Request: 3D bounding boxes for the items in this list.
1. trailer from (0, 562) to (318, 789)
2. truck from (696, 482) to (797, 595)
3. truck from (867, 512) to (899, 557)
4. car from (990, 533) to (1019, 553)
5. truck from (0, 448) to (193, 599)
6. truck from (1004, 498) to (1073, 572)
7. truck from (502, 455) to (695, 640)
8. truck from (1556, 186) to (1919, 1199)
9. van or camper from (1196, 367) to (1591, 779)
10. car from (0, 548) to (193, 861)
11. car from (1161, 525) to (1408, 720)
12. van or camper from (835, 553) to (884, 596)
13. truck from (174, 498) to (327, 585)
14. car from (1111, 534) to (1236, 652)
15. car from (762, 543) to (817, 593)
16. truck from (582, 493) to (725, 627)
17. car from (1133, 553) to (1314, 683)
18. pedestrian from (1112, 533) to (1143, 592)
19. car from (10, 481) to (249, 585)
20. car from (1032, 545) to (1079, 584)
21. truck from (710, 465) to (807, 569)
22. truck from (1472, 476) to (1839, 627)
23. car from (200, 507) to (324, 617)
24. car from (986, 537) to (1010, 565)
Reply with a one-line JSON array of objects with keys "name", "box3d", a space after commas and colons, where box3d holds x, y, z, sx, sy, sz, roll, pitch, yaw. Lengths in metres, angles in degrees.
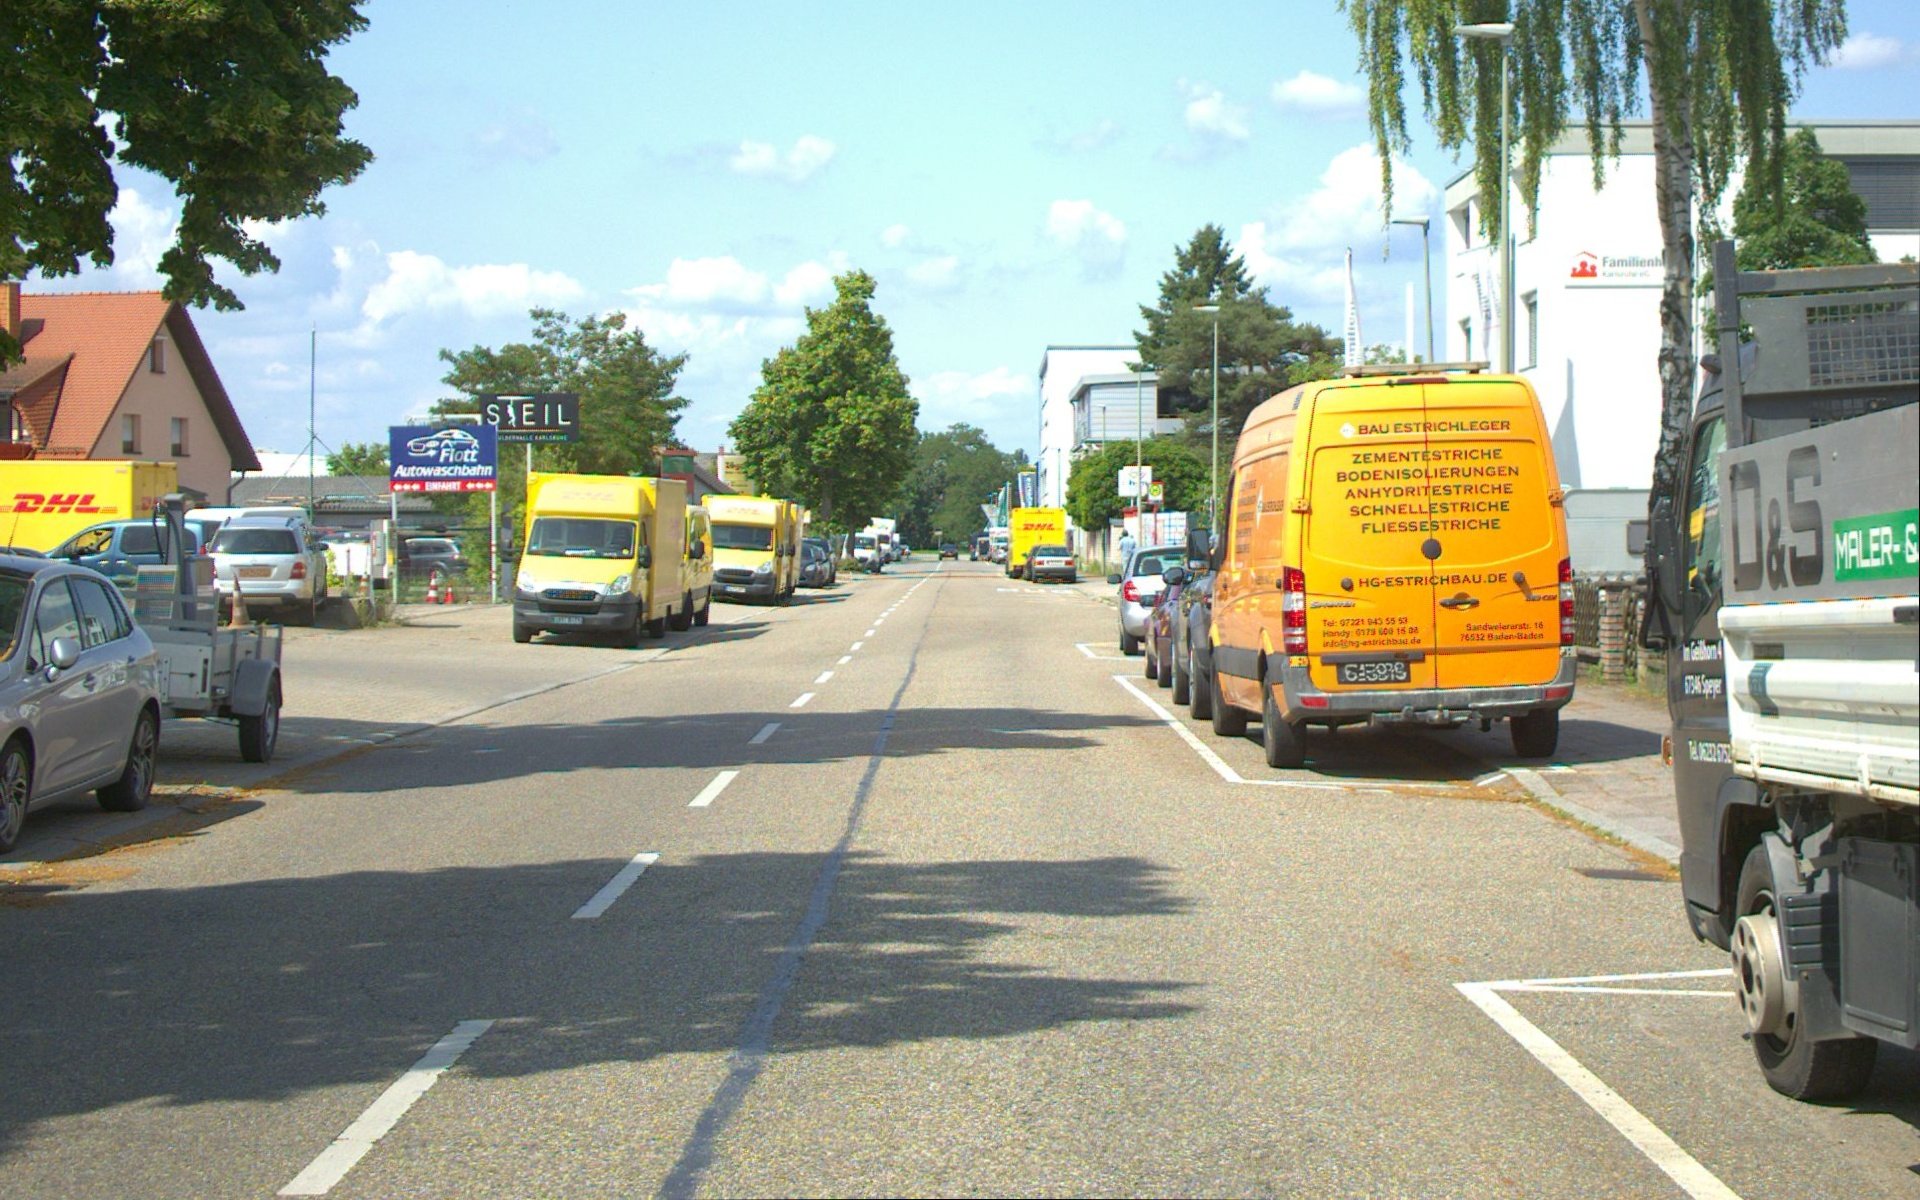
[{"name": "trailer", "box3d": [-5.741, 0.456, 24.009, 1.761, 1.285, 4.508, 3, 1, -2]}, {"name": "truck", "box3d": [-5.605, -1.602, 91.173, 2.269, 2.845, 7.175, 1, 1, -1]}, {"name": "truck", "box3d": [-5.488, -4.712, 245.578, 2.029, 3.143, 6.500, 0, 1, 0]}, {"name": "car", "box3d": [3.027, -3.877, 233.533, 1.928, 1.306, 4.000, 0, 1, 0]}, {"name": "truck", "box3d": [-18.994, -1.598, 68.779, 6.602, 2.840, 2.527, 2, 2, 13]}, {"name": "truck", "box3d": [3.170, -2.656, 141.090, 2.474, 2.930, 7.189, 1, 1, -1]}, {"name": "truck", "box3d": [-5.954, -0.899, 57.544, 2.220, 2.847, 7.069, 1, 1, 2]}, {"name": "truck", "box3d": [3.219, 0.233, 8.169, 2.522, 2.291, 5.895, -3, 1, 1]}, {"name": "van or camper", "box3d": [3.002, -0.235, 25.123, 1.993, 2.655, 5.770, 0, 1, -2]}, {"name": "car", "box3d": [-5.717, 0.498, 19.051, 1.833, 1.523, 4.237, 2, 1, 2]}, {"name": "car", "box3d": [2.857, 0.143, 31.089, 1.832, 1.634, 4.240, 0, 1, 0]}, {"name": "van or camper", "box3d": [-5.856, -1.489, 201.166, 2.174, 2.405, 7.697, 0, 1, 3]}, {"name": "truck", "box3d": [-20.681, -1.722, 100.457, 2.112, 2.479, 5.717, 0, 1, 14]}, {"name": "car", "box3d": [2.991, -0.135, 48.670, 1.610, 1.575, 4.000, 1, 1, 2]}, {"name": "car", "box3d": [-5.887, -1.113, 119.142, 1.724, 1.598, 4.415, 3, 1, -2]}, {"name": "truck", "box3d": [-5.740, -0.786, 65.101, 1.993, 2.405, 6.064, 0, 1, 1]}, {"name": "car", "box3d": [2.878, 0.157, 38.373, 1.669, 1.330, 4.438, 0, 1, 0]}, {"name": "pedestrian", "box3d": [4.998, -1.118, 102.797, 0.715, 1.691, 0.522, -6, 1, -4]}, {"name": "car", "box3d": [-15.636, -1.276, 64.821, 3.930, 1.804, 1.855, 2, 2, 10]}, {"name": "car", "box3d": [3.580, -1.350, 129.528, 1.652, 1.382, 4.423, 1, 2, 0]}, {"name": "truck", "box3d": [-5.864, -2.416, 100.753, 2.316, 2.853, 7.105, 2, 1, 0]}, {"name": "truck", "box3d": [12.334, -0.883, 60.948, 6.038, 2.568, 2.567, -1, 1, -26]}, {"name": "car", "box3d": [-11.968, -0.692, 59.175, 1.828, 1.699, 4.709, -1, 3, -8]}, {"name": "car", "box3d": [2.819, -3.683, 257.793, 1.707, 2.082, 4.000, 0, 1, 0]}]
